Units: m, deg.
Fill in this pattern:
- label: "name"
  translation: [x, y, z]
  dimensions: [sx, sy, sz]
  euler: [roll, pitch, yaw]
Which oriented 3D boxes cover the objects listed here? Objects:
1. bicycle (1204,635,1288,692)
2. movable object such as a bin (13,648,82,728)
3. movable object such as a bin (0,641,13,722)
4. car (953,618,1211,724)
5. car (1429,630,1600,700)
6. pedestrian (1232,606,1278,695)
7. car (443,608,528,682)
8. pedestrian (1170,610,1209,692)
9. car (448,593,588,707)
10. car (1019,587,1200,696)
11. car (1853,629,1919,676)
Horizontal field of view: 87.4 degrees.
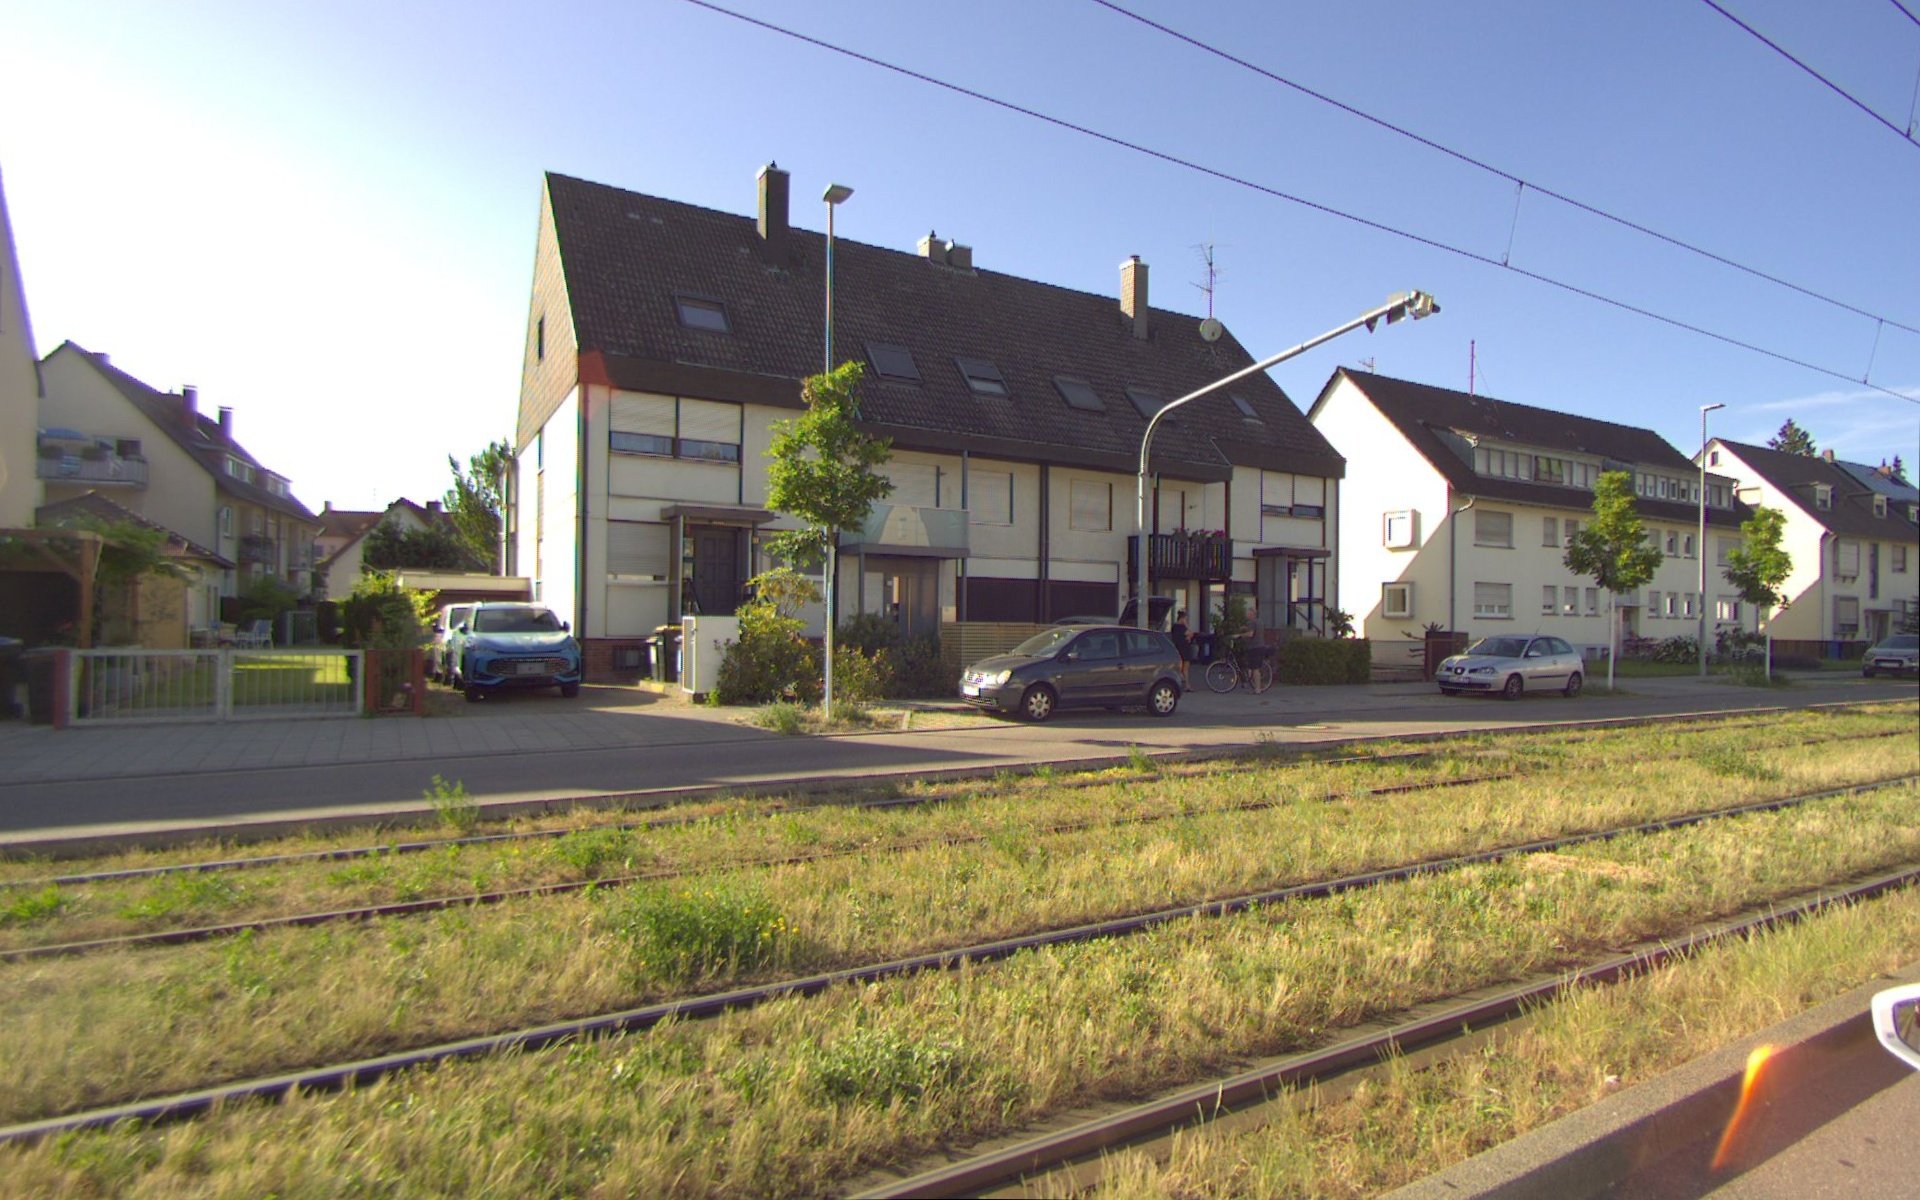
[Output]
- label: "bicycle"
  translation: [6.146, 1.365, 21.597]
  dimensions: [1.845, 1.178, 0.476]
  euler: [2, 0, -24]
- label: "movable object such as a bin"
  translation: [-11.521, 1.101, 12.688]
  dimensions: [0.599, 0.959, 0.197]
  euler: [0, 1, -28]
- label: "movable object such as a bin"
  translation: [-12.543, 1.046, 12.830]
  dimensions: [0.599, 1.027, 0.197]
  euler: [0, 1, -28]
- label: "car"
  translation: [2.048, 1.108, 16.534]
  dimensions: [4.035, 1.532, 1.612]
  euler: [1, 0, -29]
- label: "car"
  translation: [12.789, 1.440, 23.108]
  dimensions: [4.056, 1.455, 1.650]
  euler: [1, -1, -31]
- label: "pedestrian"
  translation: [6.239, 1.057, 21.265]
  dimensions: [0.673, 1.839, 0.610]
  euler: [1, 0, -38]
- label: "car"
  translation: [-11.375, 1.024, 23.952]
  dimensions: [1.492, 1.614, 3.816]
  euler: [1, -1, -30]
- label: "pedestrian"
  translation: [4.933, 1.087, 21.606]
  dimensions: [0.613, 1.710, 0.551]
  euler: [1, 0, -14]
- label: "car"
  translation: [-8.213, 0.828, 18.436]
  dimensions: [1.946, 1.807, 4.372]
  euler: [0, -1, -29]
- label: "car"
  translation: [3.311, 0.862, 23.177]
  dimensions: [1.765, 2.108, 4.441]
  euler: [2, 2, -28]
- label: "car"
  translation: [32.566, 1.781, 34.464]
  dimensions: [4.265, 1.492, 1.680]
  euler: [2, 0, -31]
